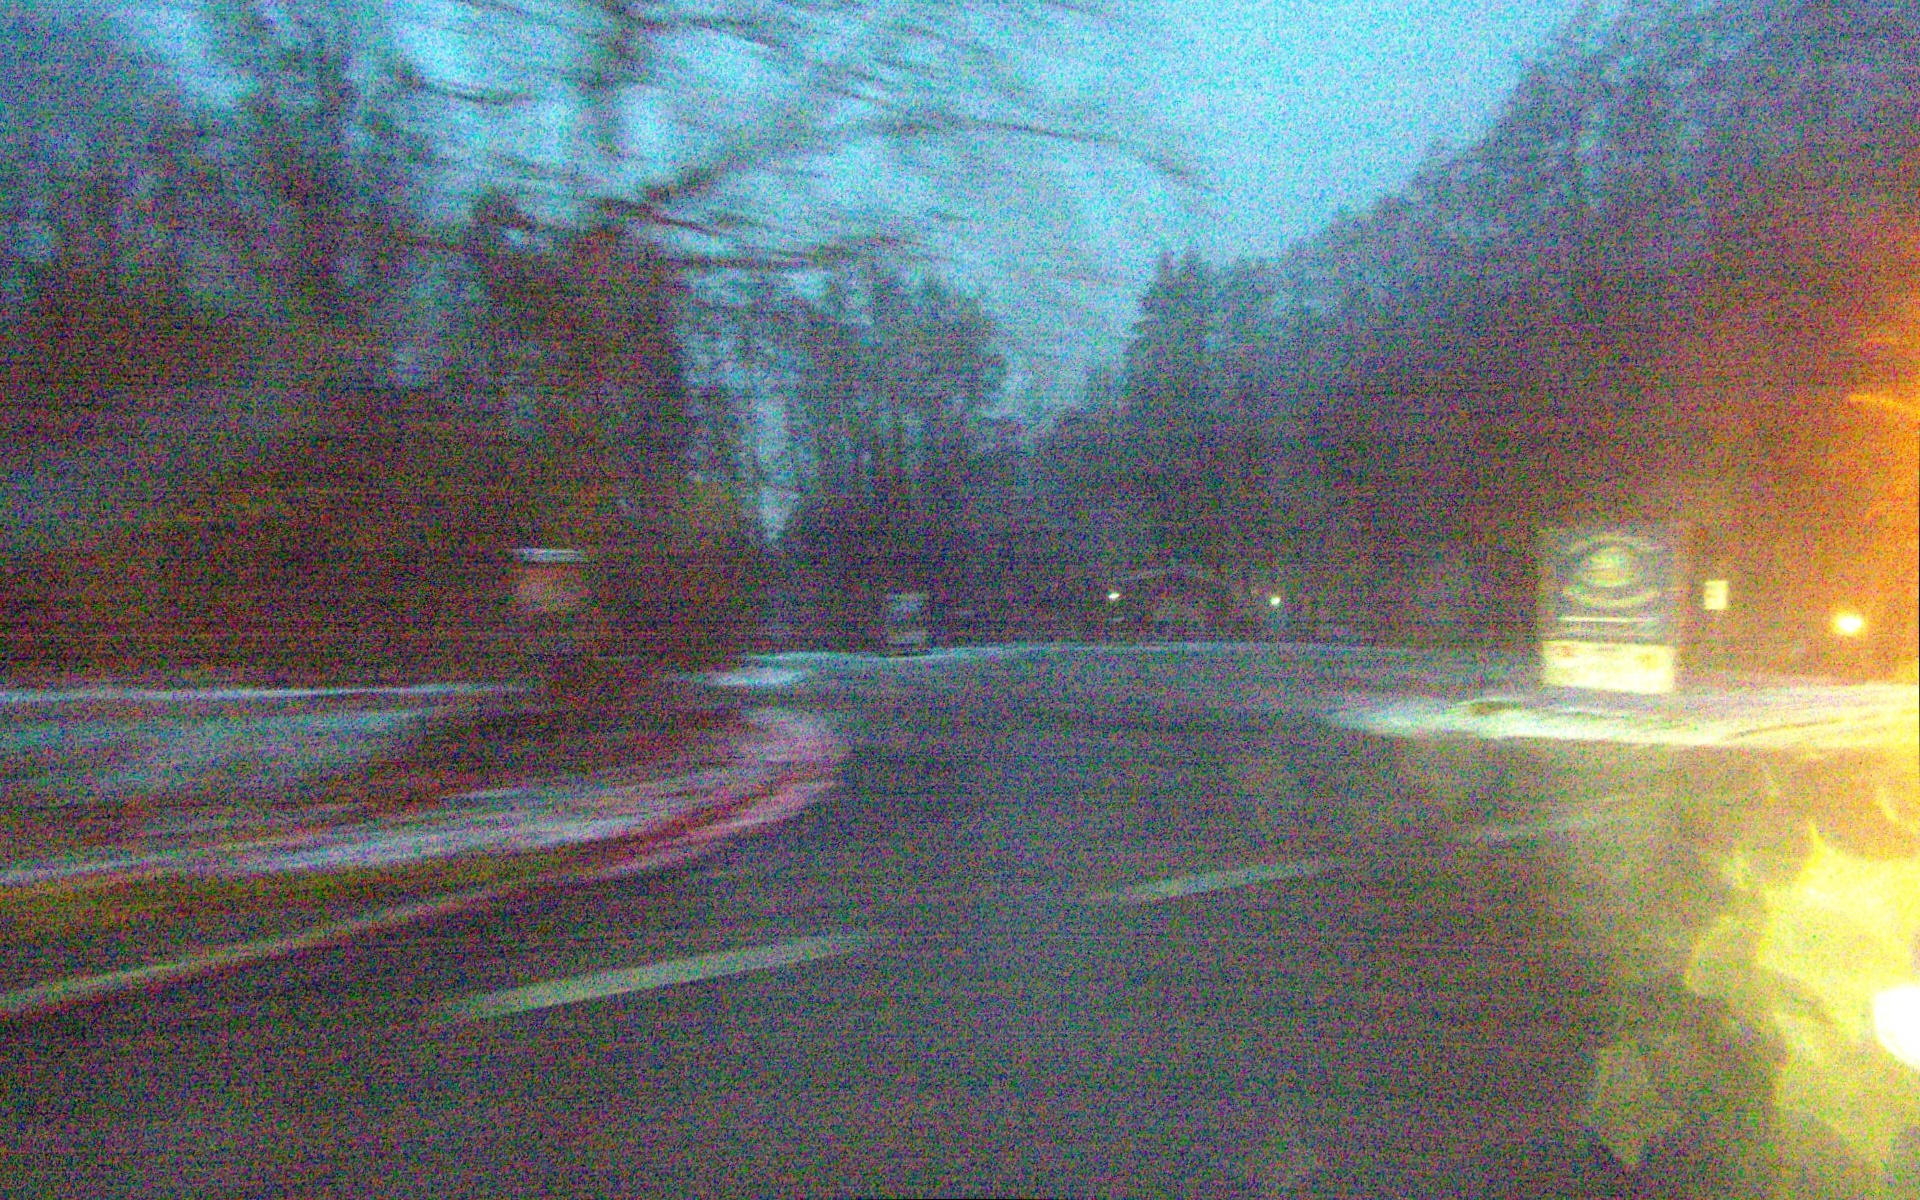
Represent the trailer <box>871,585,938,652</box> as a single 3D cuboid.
[{"bbox_3d":[-2.079,0.723,36.566,1.939,2.247,3.804,2,-2,-10],"label":"trailer"}]
